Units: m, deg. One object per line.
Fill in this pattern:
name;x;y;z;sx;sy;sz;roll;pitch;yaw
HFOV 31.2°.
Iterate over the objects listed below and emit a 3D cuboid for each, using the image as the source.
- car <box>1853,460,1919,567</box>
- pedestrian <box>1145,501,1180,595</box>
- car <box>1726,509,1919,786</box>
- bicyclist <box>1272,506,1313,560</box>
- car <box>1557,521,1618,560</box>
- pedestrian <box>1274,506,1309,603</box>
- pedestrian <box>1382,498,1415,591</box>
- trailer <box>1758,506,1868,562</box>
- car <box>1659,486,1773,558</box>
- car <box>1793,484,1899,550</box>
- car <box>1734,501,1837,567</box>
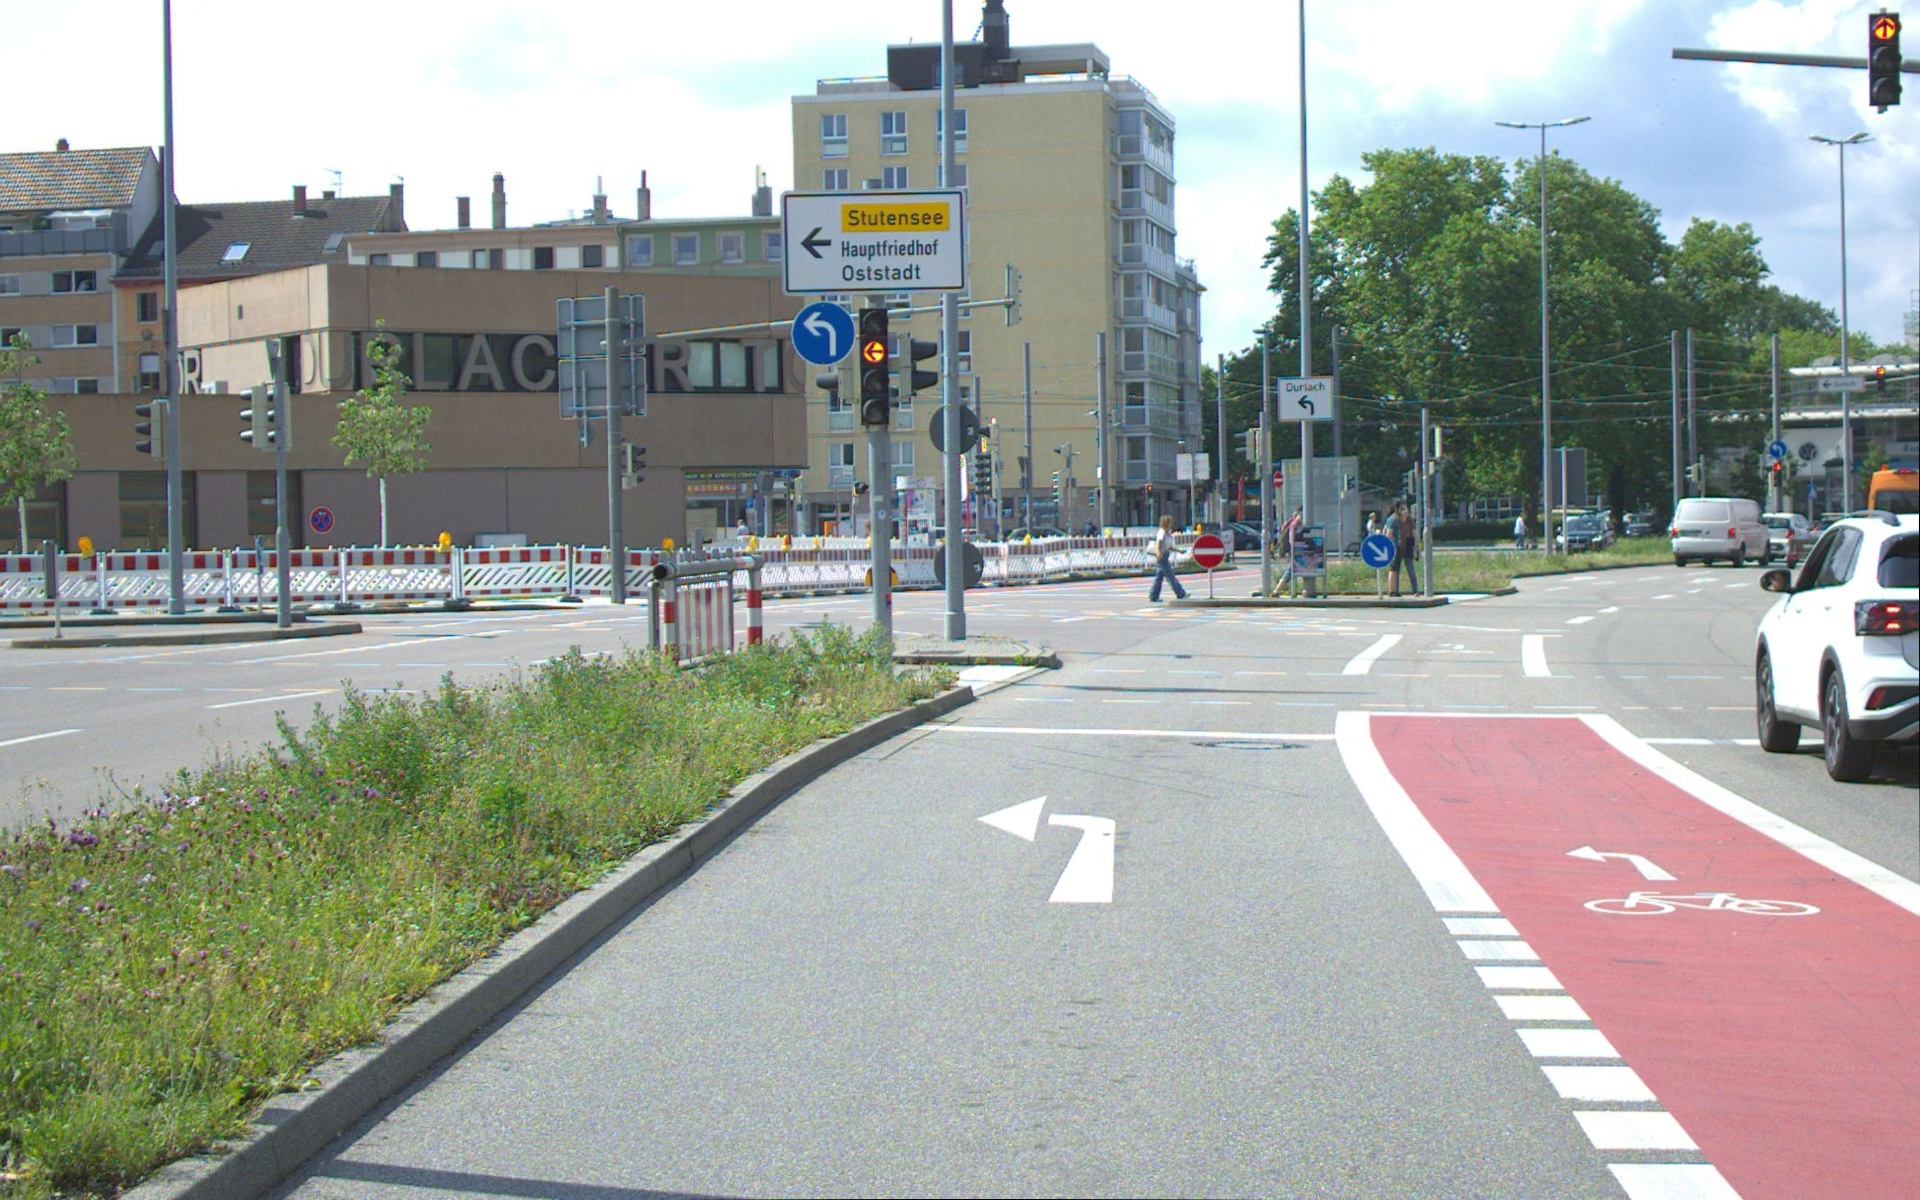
car;25.676;-2.339;92.564;2.133;2.771;4.632;-1;1;27
pedestrian;3.742;-0.961;63.427;0.525;1.727;0.623;-1;1;13
car;5.923;0.220;21.044;1.791;1.534;4.011;1;2;4
bicyclist;12.051;-2.430;124.617;1.221;1.903;0.857;0;1;24
car;23.042;-2.193;126.198;1.793;1.383;4.224;0;1;16
pedestrian;5.922;-0.815;61.460;0.525;1.727;0.623;-1;1;13
pedestrian;8.035;-1.017;62.960;0.525;1.678;0.623;-1;1;13
trailer;23.798;-1.845;95.805;1.997;1.472;3.994;-1;1;29
car;21.672;-2.251;98.411;2.008;1.960;4.632;-1;1;27
car;25.507;-2.388;98.915;1.997;1.820;3.994;-1;1;29
car;25.483;-2.049;105.984;1.994;1.932;4.632;-1;1;27
